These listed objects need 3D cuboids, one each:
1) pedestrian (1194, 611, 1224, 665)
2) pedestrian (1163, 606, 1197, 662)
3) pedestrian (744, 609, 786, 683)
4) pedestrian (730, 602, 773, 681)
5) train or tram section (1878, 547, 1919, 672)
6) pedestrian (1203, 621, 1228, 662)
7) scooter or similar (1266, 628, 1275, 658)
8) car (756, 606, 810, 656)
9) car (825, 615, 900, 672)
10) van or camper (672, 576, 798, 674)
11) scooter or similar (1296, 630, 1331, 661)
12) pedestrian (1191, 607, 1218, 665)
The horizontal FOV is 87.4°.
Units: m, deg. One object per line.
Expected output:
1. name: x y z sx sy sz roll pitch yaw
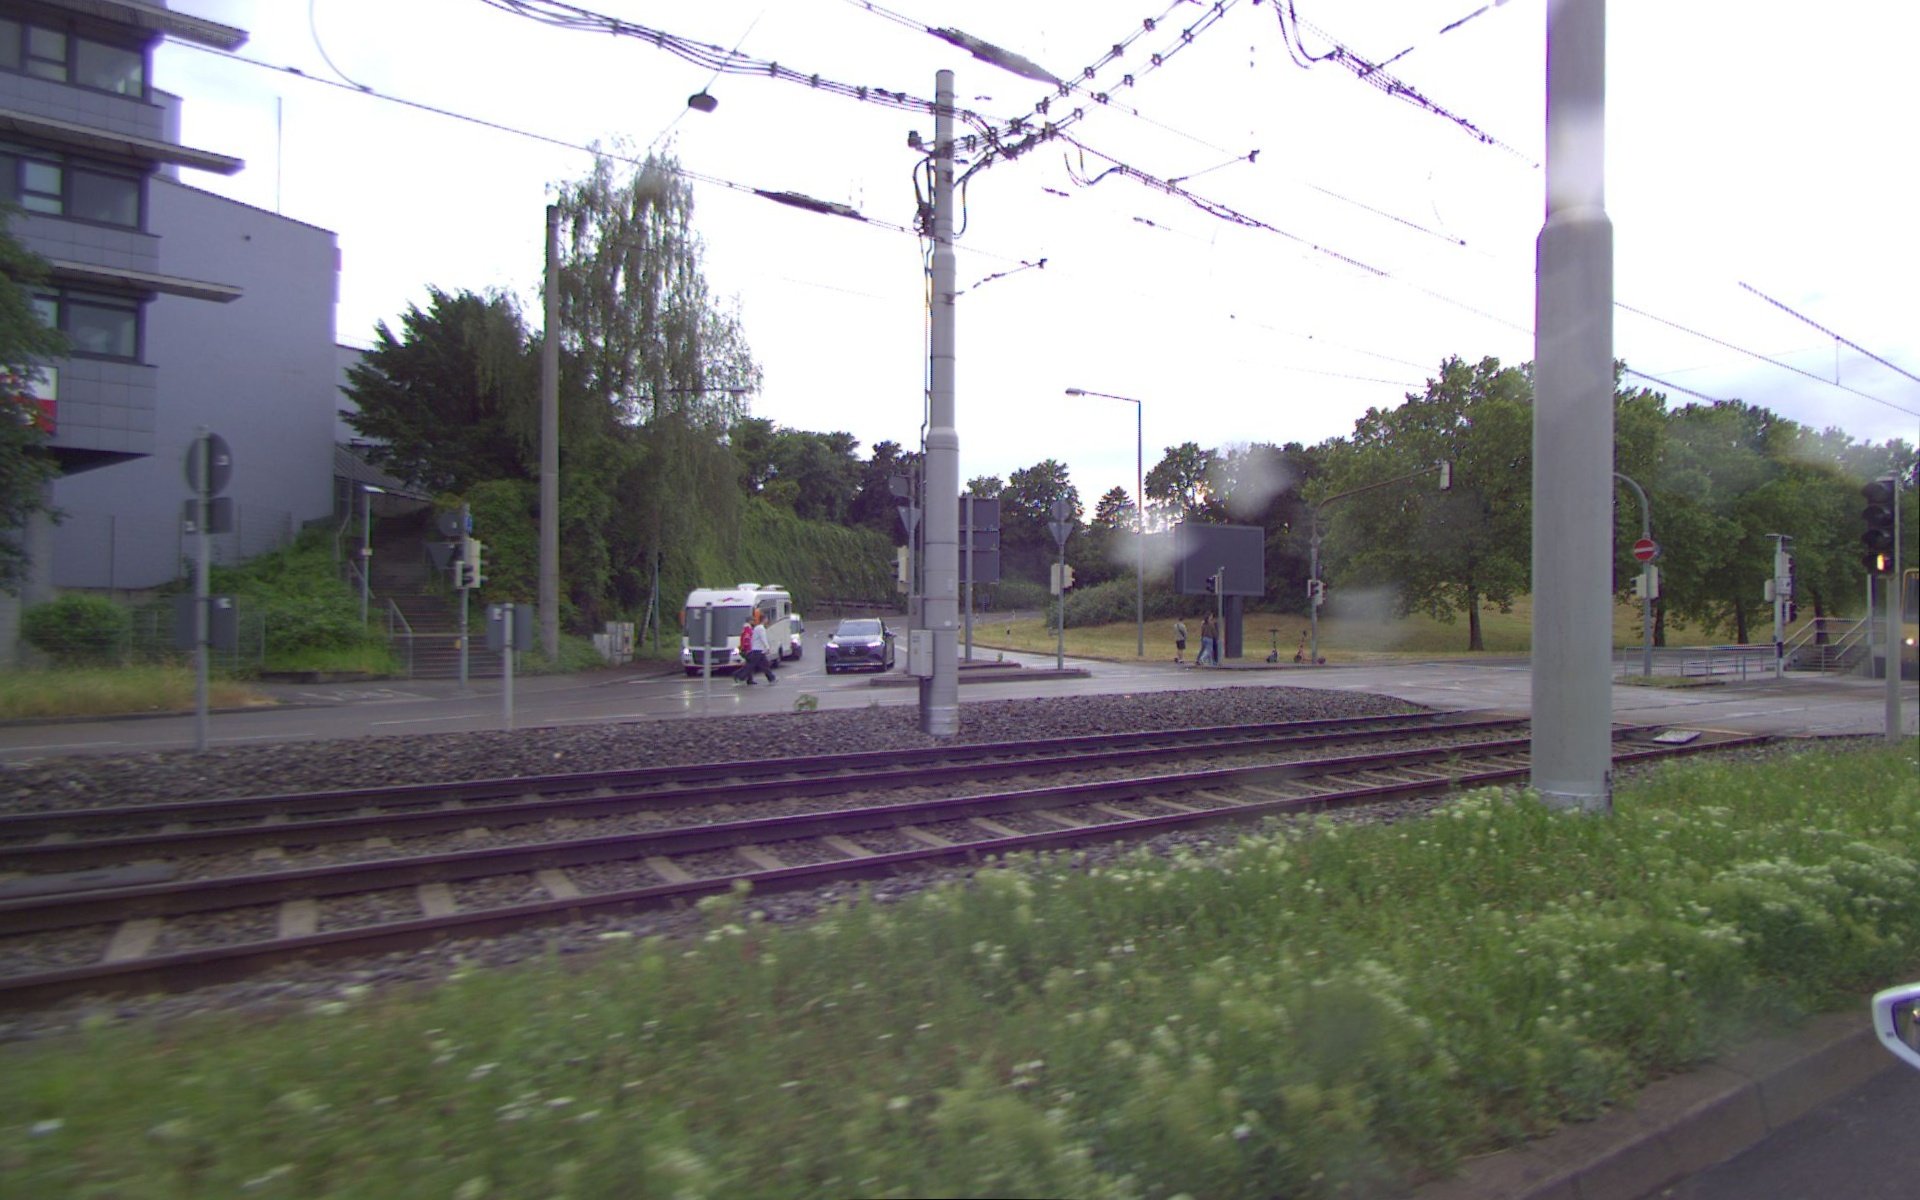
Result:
1. pedestrian: 8.561 1.312 34.545 0.821 1.811 0.504 2 1 -28
2. pedestrian: 8.053 1.236 36.797 0.858 2.040 0.880 2 -1 -37
3. pedestrian: -5.048 1.193 26.050 0.940 1.892 0.632 1 -1 -24
4. pedestrian: -5.531 1.098 26.638 0.932 2.040 0.884 1 -1 -24
5. train or tram section: 33.704 0.411 33.266 6.925 3.985 2.913 2 1 -31
6. pedestrian: 9.401 1.524 36.984 0.713 1.493 0.493 2 1 -31
7. scooter or similar: 12.073 1.673 39.095 0.282 1.177 0.769 0 -1 13
8. car: -7.527 1.291 43.102 1.963 2.040 4.521 1 -1 -6
9. car: -3.193 1.401 33.773 1.960 1.755 4.632 0 -1 1
10. van or camper: -7.580 0.827 34.897 2.441 3.006 7.377 0 -1 2
11. scooter or similar: 13.658 1.749 38.813 1.254 1.177 0.380 0 -1 13
12. pedestrian: 8.532 1.263 35.026 0.713 1.982 0.493 2 1 -29
